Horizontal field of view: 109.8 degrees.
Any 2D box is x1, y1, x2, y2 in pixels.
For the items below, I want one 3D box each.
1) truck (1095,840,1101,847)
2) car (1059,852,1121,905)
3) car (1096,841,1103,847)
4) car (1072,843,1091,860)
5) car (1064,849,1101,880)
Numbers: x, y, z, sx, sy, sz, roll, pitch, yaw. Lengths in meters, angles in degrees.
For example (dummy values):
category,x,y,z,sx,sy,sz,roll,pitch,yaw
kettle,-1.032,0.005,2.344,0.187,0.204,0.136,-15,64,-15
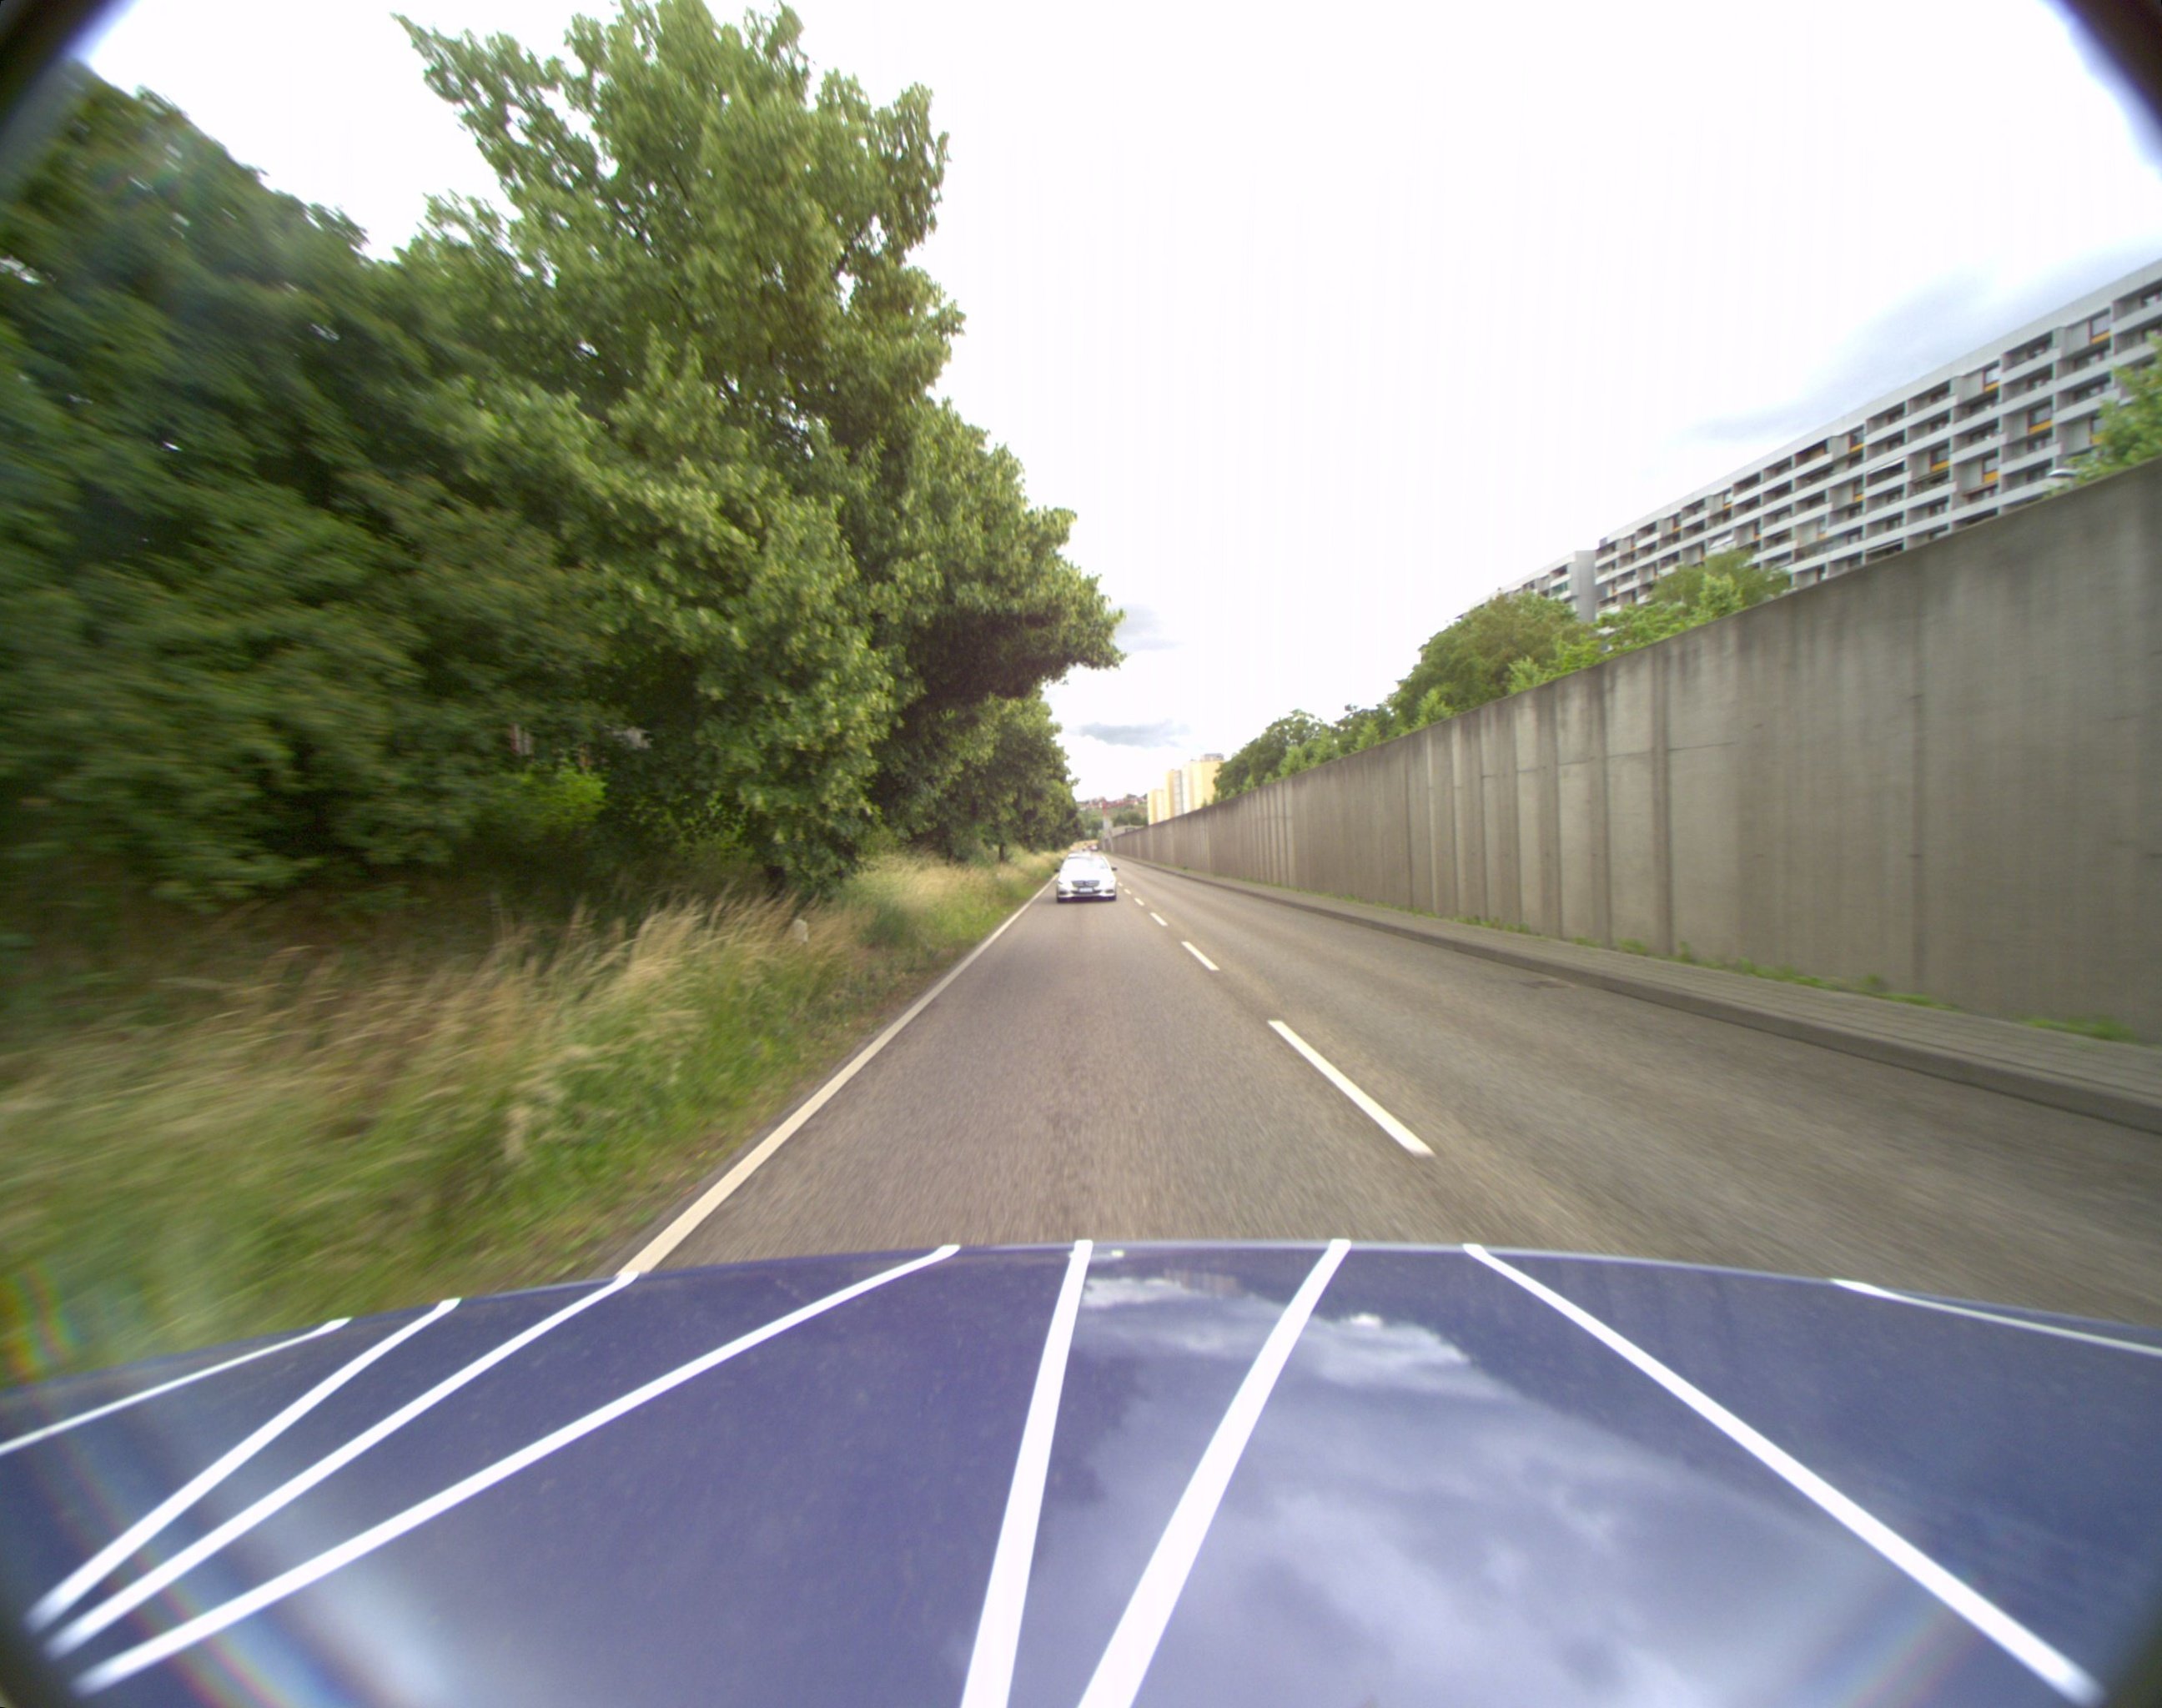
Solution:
category,x,y,z,sx,sy,sz,roll,pitch,yaw
truck,5.744,-3.602,256.534,1.593,2.211,3.999,-2,1,1
car,0.285,0.734,25.163,1.842,1.499,4.160,-2,1,0
car,5.402,-2.976,222.456,1.639,1.478,3.493,-5,0,1
car,0.091,-0.283,85.141,1.998,1.746,4.000,-2,1,1
car,0.083,0.553,41.393,1.878,1.459,3.999,-2,1,0
